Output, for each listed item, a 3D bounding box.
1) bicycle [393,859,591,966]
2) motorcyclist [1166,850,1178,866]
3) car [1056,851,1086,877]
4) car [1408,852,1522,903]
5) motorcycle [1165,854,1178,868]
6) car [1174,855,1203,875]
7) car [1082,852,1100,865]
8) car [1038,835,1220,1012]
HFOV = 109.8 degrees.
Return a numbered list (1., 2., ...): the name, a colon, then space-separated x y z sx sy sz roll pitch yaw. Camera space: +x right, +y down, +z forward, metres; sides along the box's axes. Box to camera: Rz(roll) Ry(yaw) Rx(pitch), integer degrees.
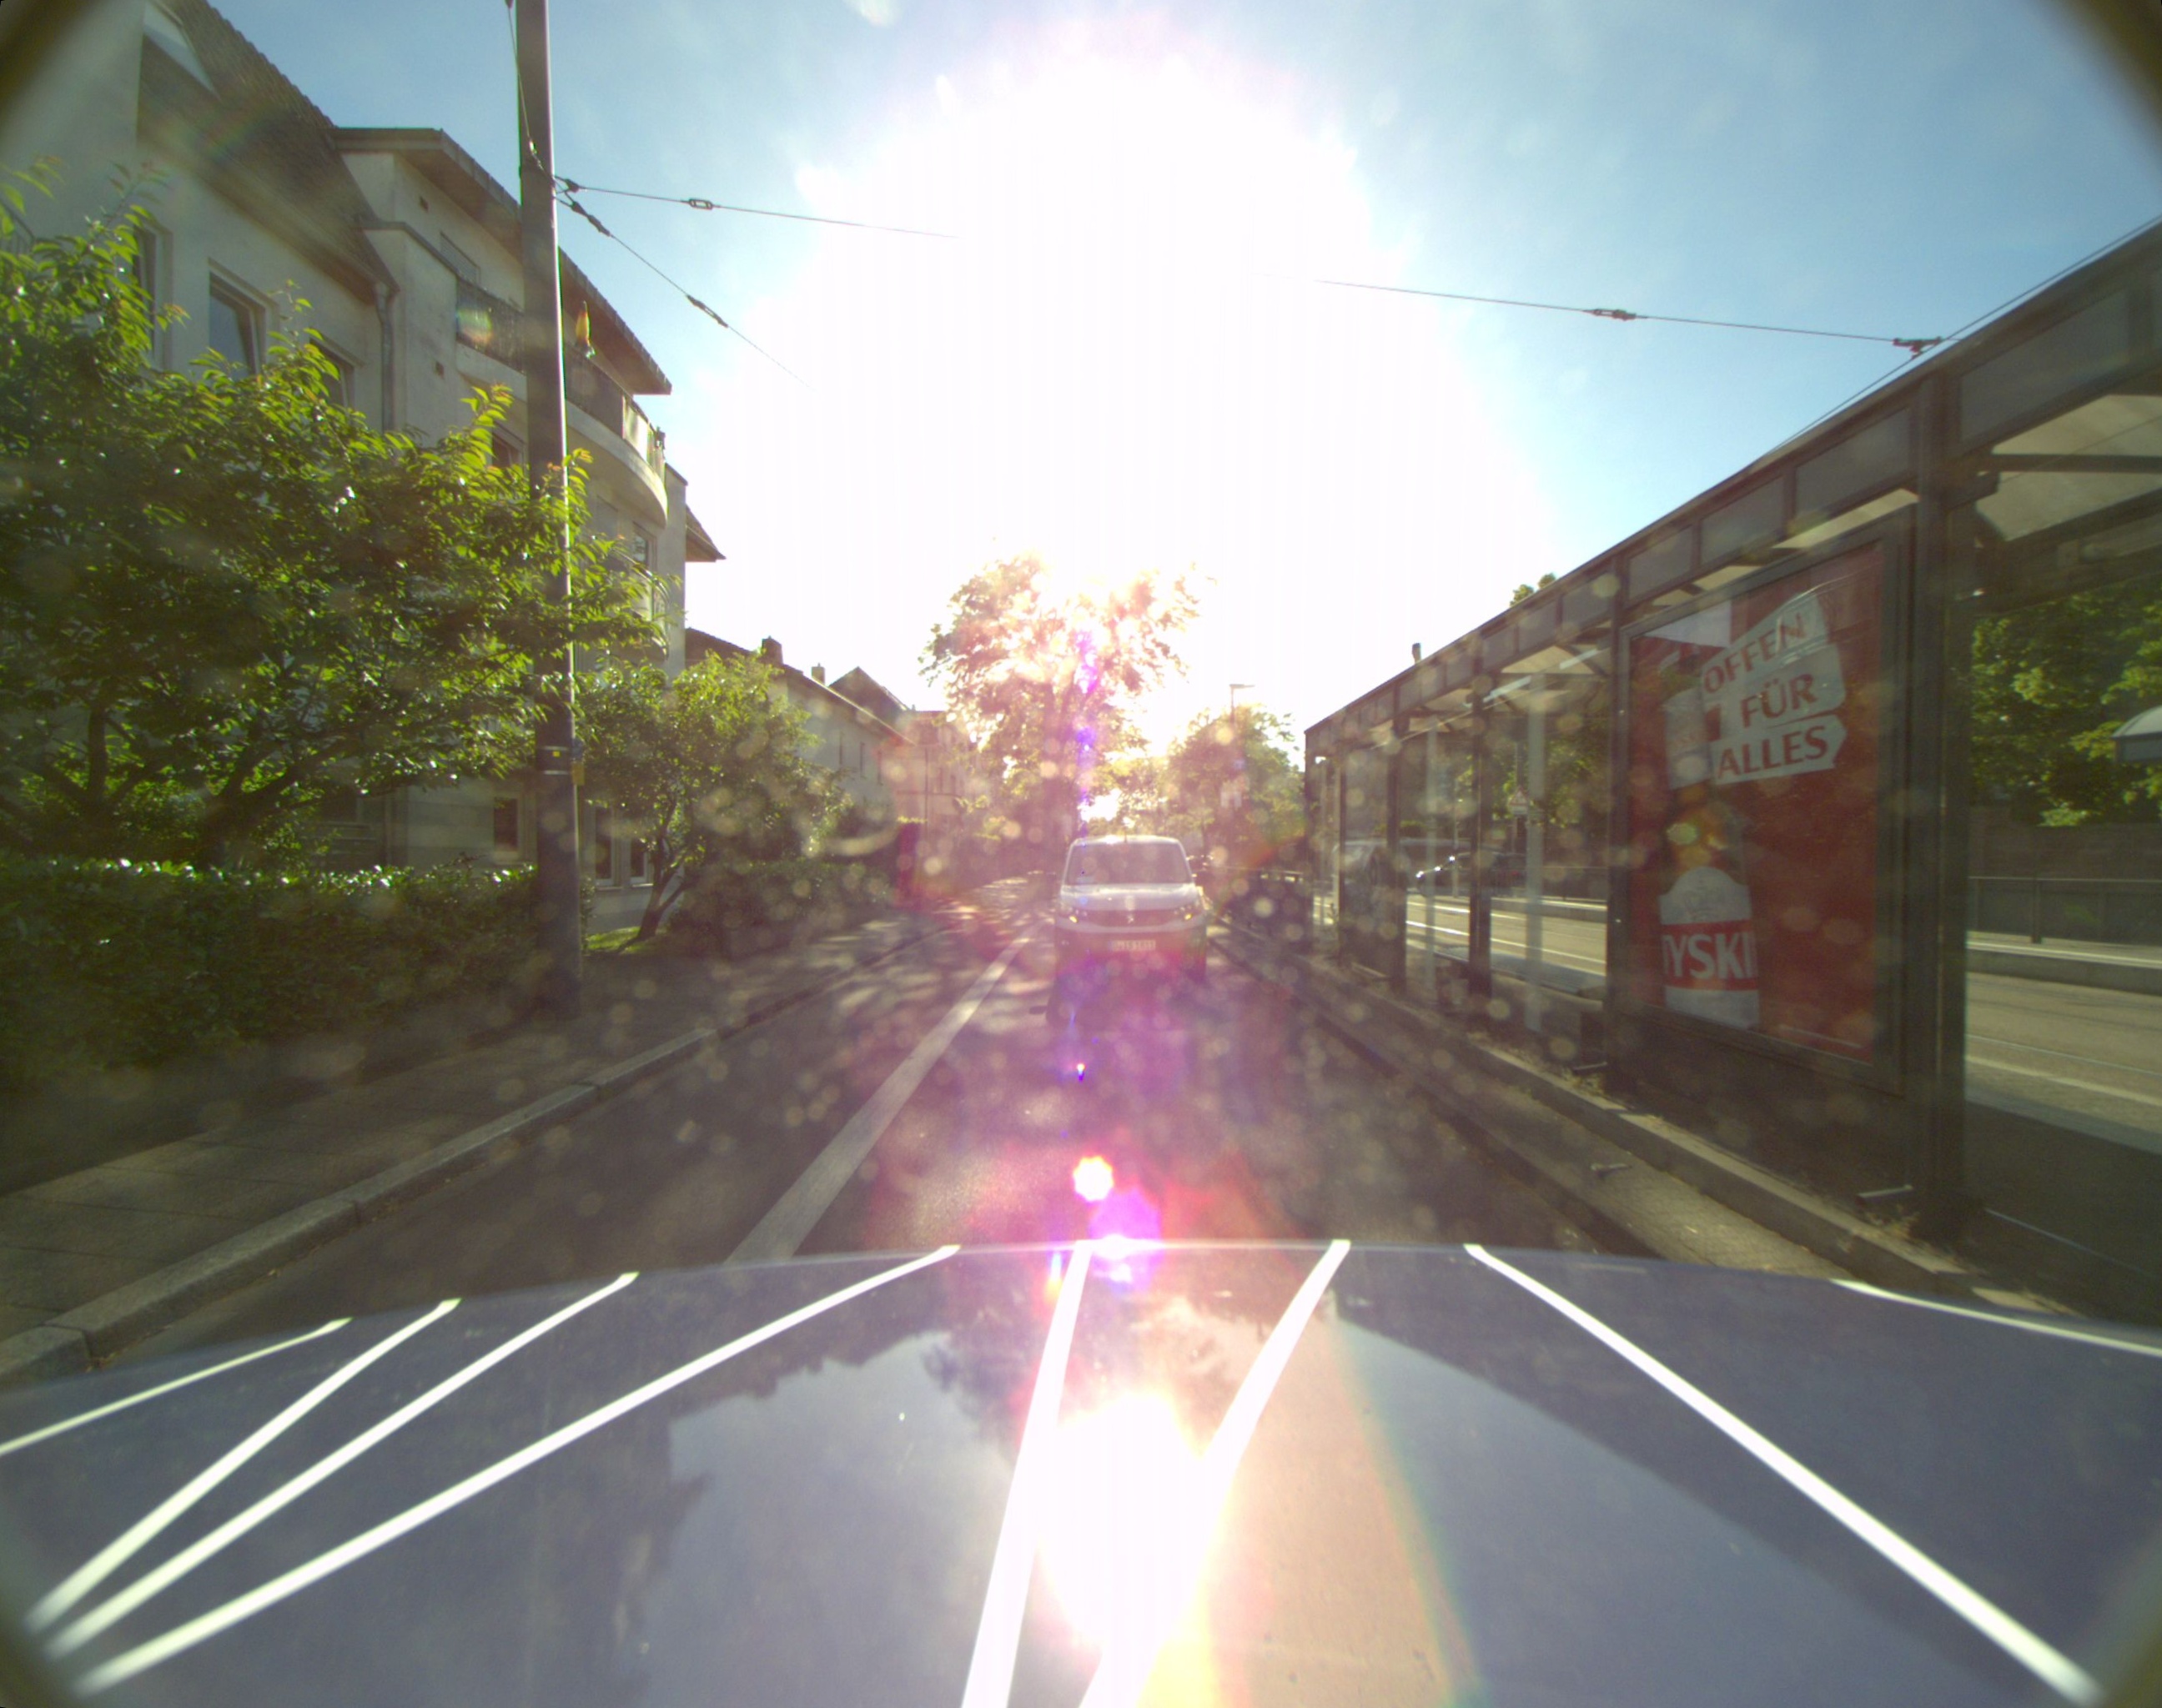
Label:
1. bicycle: -7.505 0.724 9.752 1.845 1.196 0.825 4 1 0
2. motorcyclist: 8.871 0.361 74.382 1.127 1.516 1.055 0 1 4
3. car: -0.659 0.654 53.884 1.998 1.733 4.170 0 1 1
4. car: 13.605 0.774 27.253 1.911 1.667 4.357 0 0 0
5. motorcycle: 8.866 0.682 74.309 1.132 1.236 2.574 0 1 4
6. car: 8.314 0.898 59.287 1.859 1.394 3.986 0 -3 3
7. car: 1.152 0.514 88.108 1.719 1.332 3.919 0 1 5
8. car: 0.570 0.702 10.046 1.832 1.788 4.334 -2 1 2
